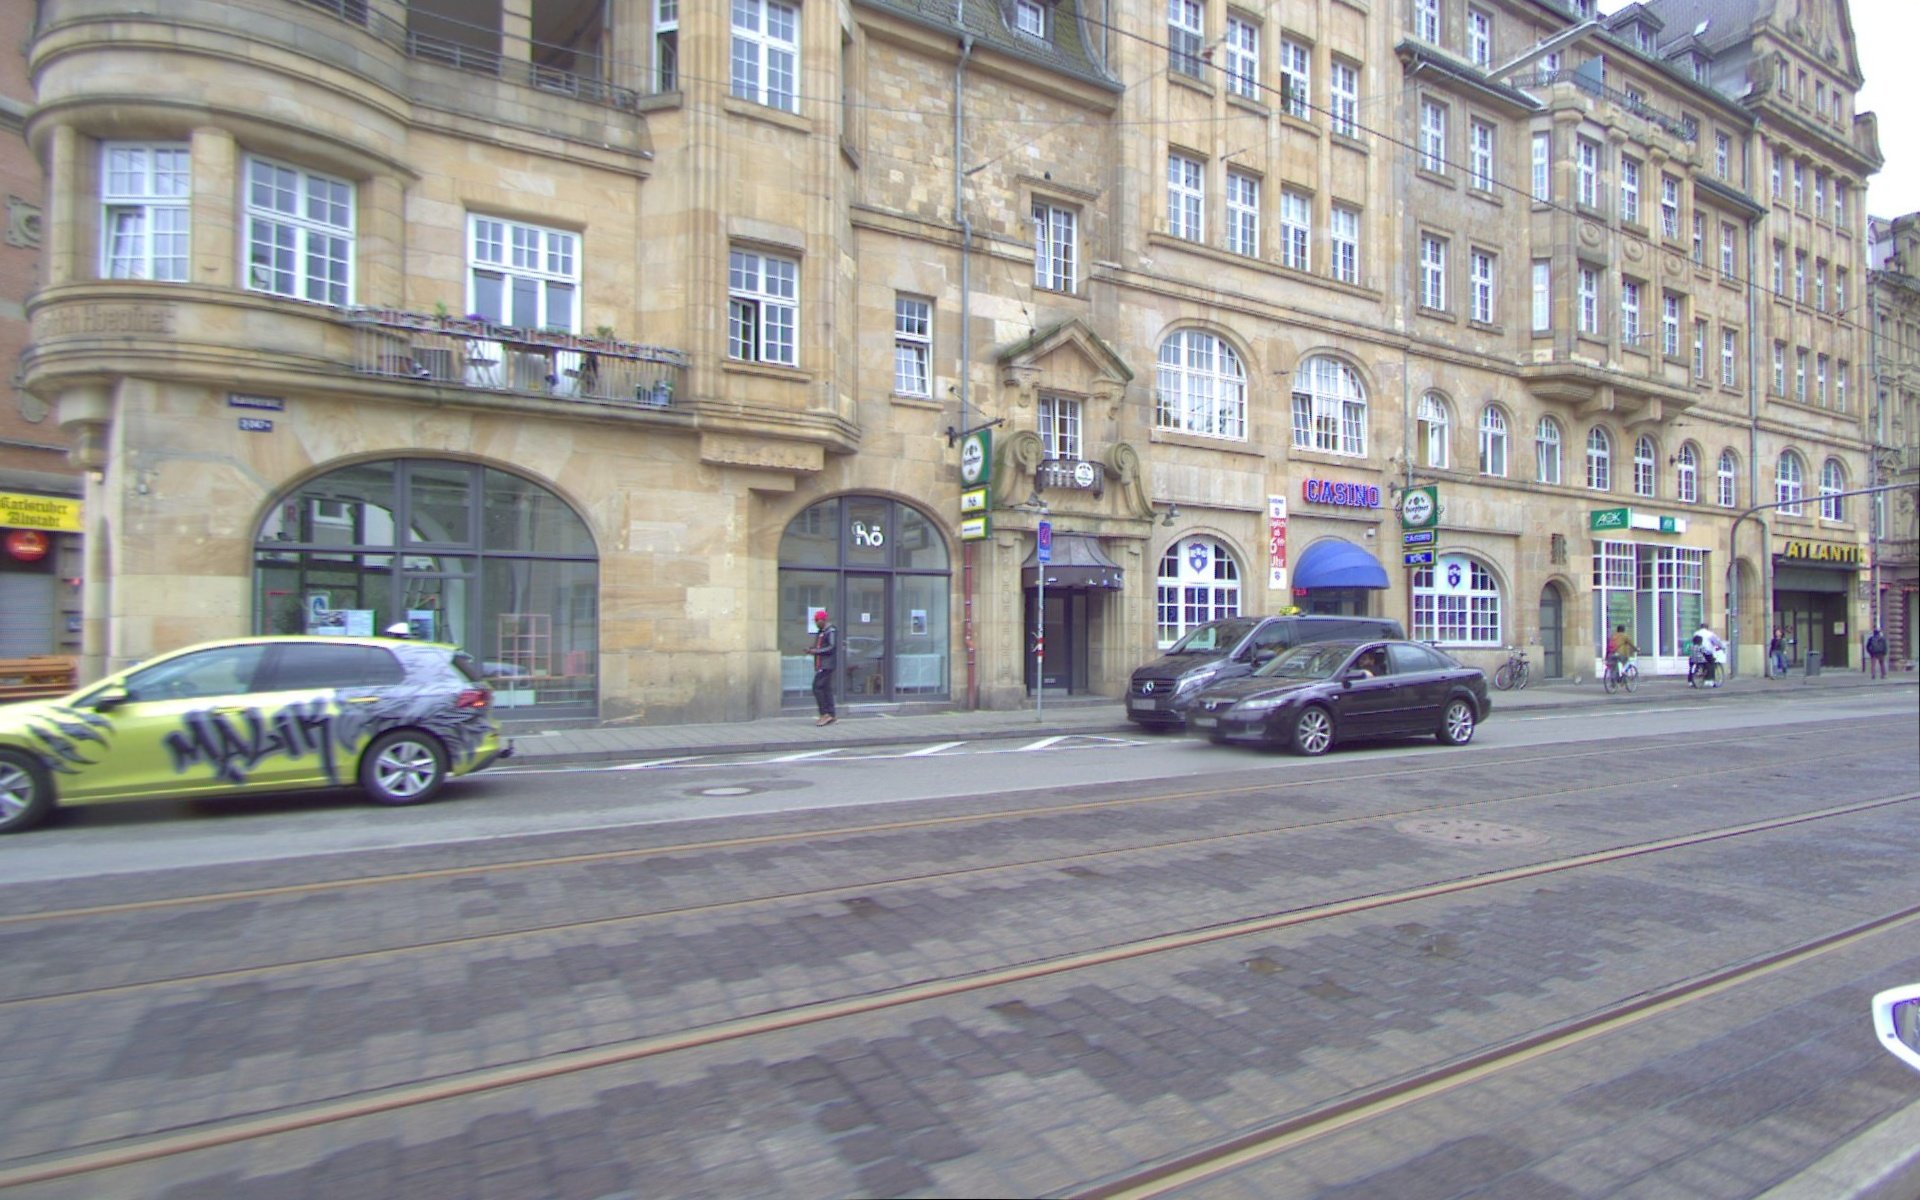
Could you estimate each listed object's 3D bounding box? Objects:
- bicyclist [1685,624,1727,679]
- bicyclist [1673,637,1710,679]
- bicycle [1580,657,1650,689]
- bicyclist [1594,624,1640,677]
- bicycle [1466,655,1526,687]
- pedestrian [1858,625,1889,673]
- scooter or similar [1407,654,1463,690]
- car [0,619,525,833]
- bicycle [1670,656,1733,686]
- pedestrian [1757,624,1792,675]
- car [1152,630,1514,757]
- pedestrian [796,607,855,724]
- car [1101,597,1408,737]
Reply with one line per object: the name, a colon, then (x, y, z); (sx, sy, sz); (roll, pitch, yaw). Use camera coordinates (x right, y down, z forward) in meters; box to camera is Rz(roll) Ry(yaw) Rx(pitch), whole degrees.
bicyclist: (20.862, 1.435, 28.098); (0.960, 1.507, 0.608); (1, -1, -30)
bicyclist: (20.154, 1.580, 27.682); (0.652, 1.132, 0.608); (1, -1, -30)
bicycle: (16.771, 1.855, 25.699); (2.224, 0.755, 0.579); (1, -2, -30)
bicyclist: (16.837, 1.280, 25.746); (0.960, 1.341, 0.608); (1, -1, -30)
bicycle: (13.900, 1.829, 26.050); (1.686, 0.755, 0.579); (1, -2, -30)
pedestrian: (31.107, 1.668, 34.210); (0.710, 1.619, 0.565); (1, -2, -30)
scooter or similar: (11.637, 1.752, 24.600); (1.329, 0.813, 0.579); (1, -1, -30)
car: (-6.166, 0.961, 8.607); (4.371, 1.530, 1.892); (1, -3, -27)
bicycle: (20.645, 1.970, 27.958); (2.224, 0.755, 0.579); (1, -1, -30)
pedestrian: (26.642, 1.618, 32.863); (0.733, 1.634, 0.682); (1, -1, -30)
car: (4.997, 1.166, 13.380); (4.604, 1.452, 1.822); (1, -4, -26)
pedestrian: (-2.079, 0.998, 15.512); (0.757, 1.750, 0.491); (1, -1, -33)
car: (4.907, 1.062, 16.514); (5.038, 2.002, 1.890); (1, -4, -31)
